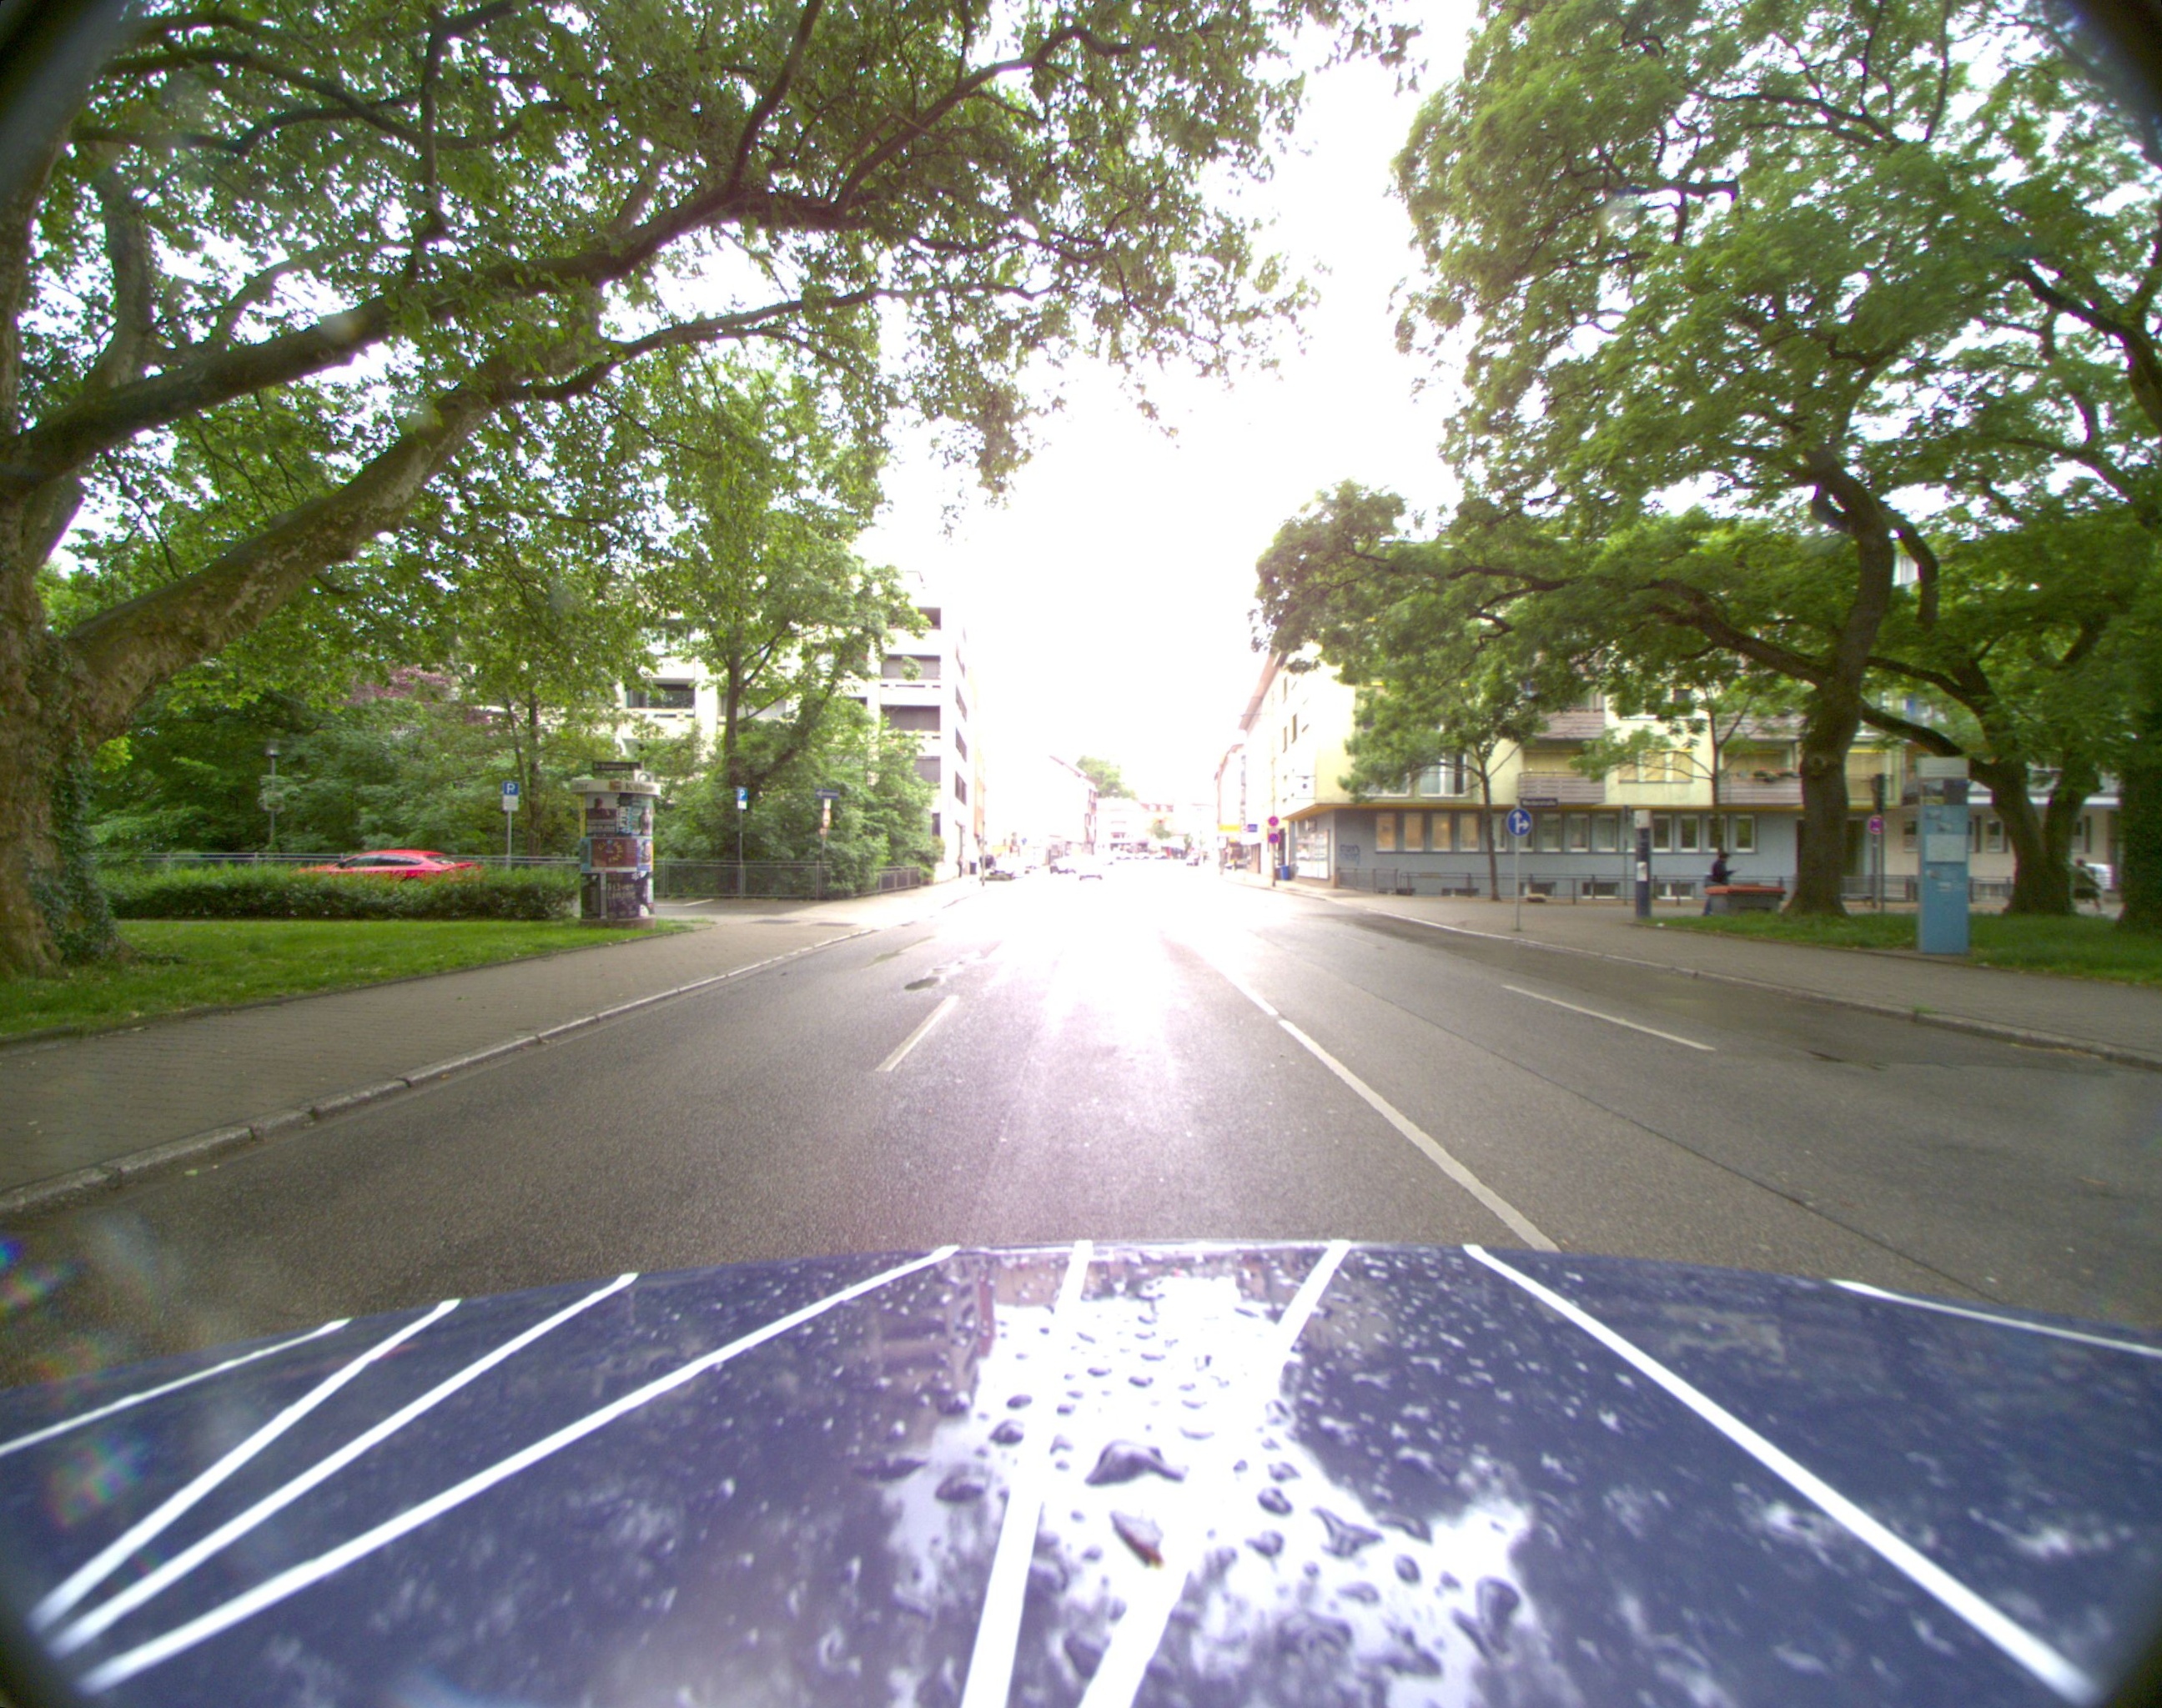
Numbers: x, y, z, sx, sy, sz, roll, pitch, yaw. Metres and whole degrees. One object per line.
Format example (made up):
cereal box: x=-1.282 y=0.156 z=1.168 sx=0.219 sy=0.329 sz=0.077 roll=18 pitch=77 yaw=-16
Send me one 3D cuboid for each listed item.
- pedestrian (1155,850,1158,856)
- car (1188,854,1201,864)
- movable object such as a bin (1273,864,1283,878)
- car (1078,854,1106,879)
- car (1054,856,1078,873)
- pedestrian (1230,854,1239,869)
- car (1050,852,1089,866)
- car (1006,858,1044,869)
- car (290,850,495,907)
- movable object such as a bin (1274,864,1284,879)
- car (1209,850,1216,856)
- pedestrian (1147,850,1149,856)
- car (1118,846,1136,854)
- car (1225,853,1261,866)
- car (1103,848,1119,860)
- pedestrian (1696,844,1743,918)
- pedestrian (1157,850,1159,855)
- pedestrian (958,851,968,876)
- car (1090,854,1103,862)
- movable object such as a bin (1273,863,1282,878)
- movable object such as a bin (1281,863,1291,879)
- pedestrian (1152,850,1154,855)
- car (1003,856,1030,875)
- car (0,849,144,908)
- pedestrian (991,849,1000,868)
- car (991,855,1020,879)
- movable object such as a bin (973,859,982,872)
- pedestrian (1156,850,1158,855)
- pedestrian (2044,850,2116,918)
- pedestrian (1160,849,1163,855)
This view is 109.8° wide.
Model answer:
pedestrian: x=18.449 y=-0.213 z=185.632 sx=0.379 sy=1.283 sz=0.401 roll=1 pitch=1 yaw=39
car: x=18.182 y=0.765 z=121.411 sx=1.834 sy=1.612 sz=4.003 roll=0 pitch=0 yaw=10
movable object such as a bin: x=12.820 y=1.105 z=49.343 sx=0.529 sy=0.922 sz=0.426 roll=-4 pitch=0 yaw=8
car: x=0.745 y=0.820 z=51.974 sx=1.756 sy=1.559 sz=4.000 roll=-2 pitch=0 yaw=1
car: x=-1.490 y=0.988 z=75.362 sx=1.758 sy=1.559 sz=3.997 roll=-2 pitch=0 yaw=-9
pedestrian: x=16.747 y=0.797 z=82.717 sx=0.785 sy=1.578 sz=0.674 roll=-2 pitch=0 yaw=21
car: x=-1.375 y=0.623 z=93.410 sx=4.687 sy=1.559 sz=1.758 roll=-2 pitch=0 yaw=2
car: x=-6.863 y=1.176 z=93.612 sx=4.463 sy=1.377 sz=1.476 roll=0 pitch=0 yaw=1
car: x=-19.553 y=0.677 z=21.754 sx=3.999 sy=1.473 sz=1.875 roll=1 pitch=1 yaw=-5
movable object such as a bin: x=12.748 y=1.123 z=48.887 sx=0.529 sy=0.890 sz=0.435 roll=-4 pitch=0 yaw=8
car: x=33.475 y=-0.299 z=193.416 sx=1.591 sy=1.518 sz=3.491 roll=0 pitch=0 yaw=14
pedestrian: x=15.541 y=-0.255 z=176.424 sx=0.399 sy=1.283 sz=0.380 roll=0 pitch=1 yaw=10
car: x=10.218 y=-0.996 z=170.095 sx=2.049 sy=1.754 sz=4.560 roll=1 pitch=0 yaw=-26
car: x=20.560 y=0.692 z=96.475 sx=4.196 sy=1.596 sz=1.481 roll=1 pitch=0 yaw=1
car: x=4.734 y=0.016 z=120.654 sx=2.016 sy=1.754 sz=4.766 roll=1 pitch=0 yaw=9
pedestrian: x=17.518 y=0.720 z=20.849 sx=0.754 sy=2.002 sz=0.780 roll=0 pitch=1 yaw=-31
pedestrian: x=18.065 y=-0.413 z=178.926 sx=0.379 sy=1.283 sz=0.401 roll=1 pitch=1 yaw=40
pedestrian: x=-8.128 y=0.647 z=52.326 sx=0.599 sy=1.650 sz=0.691 roll=3 pitch=0 yaw=-7
car: x=2.778 y=0.775 z=134.300 sx=1.736 sy=1.389 sz=3.744 roll=0 pitch=0 yaw=8
movable object such as a bin: x=12.901 y=1.101 z=49.815 sx=0.465 sy=0.922 sz=0.428 roll=-4 pitch=0 yaw=8
movable object such as a bin: x=13.027 y=1.059 z=48.238 sx=0.529 sy=0.955 sz=0.435 roll=-4 pitch=0 yaw=8
pedestrian: x=17.424 y=-0.407 z=184.527 sx=0.379 sy=1.283 sz=0.401 roll=0 pitch=1 yaw=38
car: x=-5.127 y=0.908 z=60.476 sx=1.835 sy=1.412 sz=4.569 roll=1 pitch=0 yaw=-1
car: x=-29.532 y=0.671 z=21.405 sx=3.932 sy=1.561 sz=1.735 roll=1 pitch=0 yaw=-4
pedestrian: x=-9.367 y=0.475 z=83.223 sx=0.806 sy=2.140 sz=0.737 roll=0 pitch=1 yaw=-23
car: x=-5.296 y=0.877 z=53.615 sx=1.706 sy=1.549 sz=3.804 roll=1 pitch=0 yaw=-1
movable object such as a bin: x=-8.578 y=0.958 z=62.878 sx=0.681 sy=1.097 sz=0.514 roll=0 pitch=1 yaw=-1
pedestrian: x=18.284 y=-0.429 z=183.122 sx=0.379 sy=1.283 sz=0.401 roll=0 pitch=1 yaw=38
pedestrian: x=28.540 y=0.843 z=21.722 sx=0.918 sy=1.913 sz=0.820 roll=0 pitch=1 yaw=6
pedestrian: x=18.906 y=-0.417 z=178.657 sx=0.379 sy=1.283 sz=0.401 roll=1 pitch=1 yaw=39
